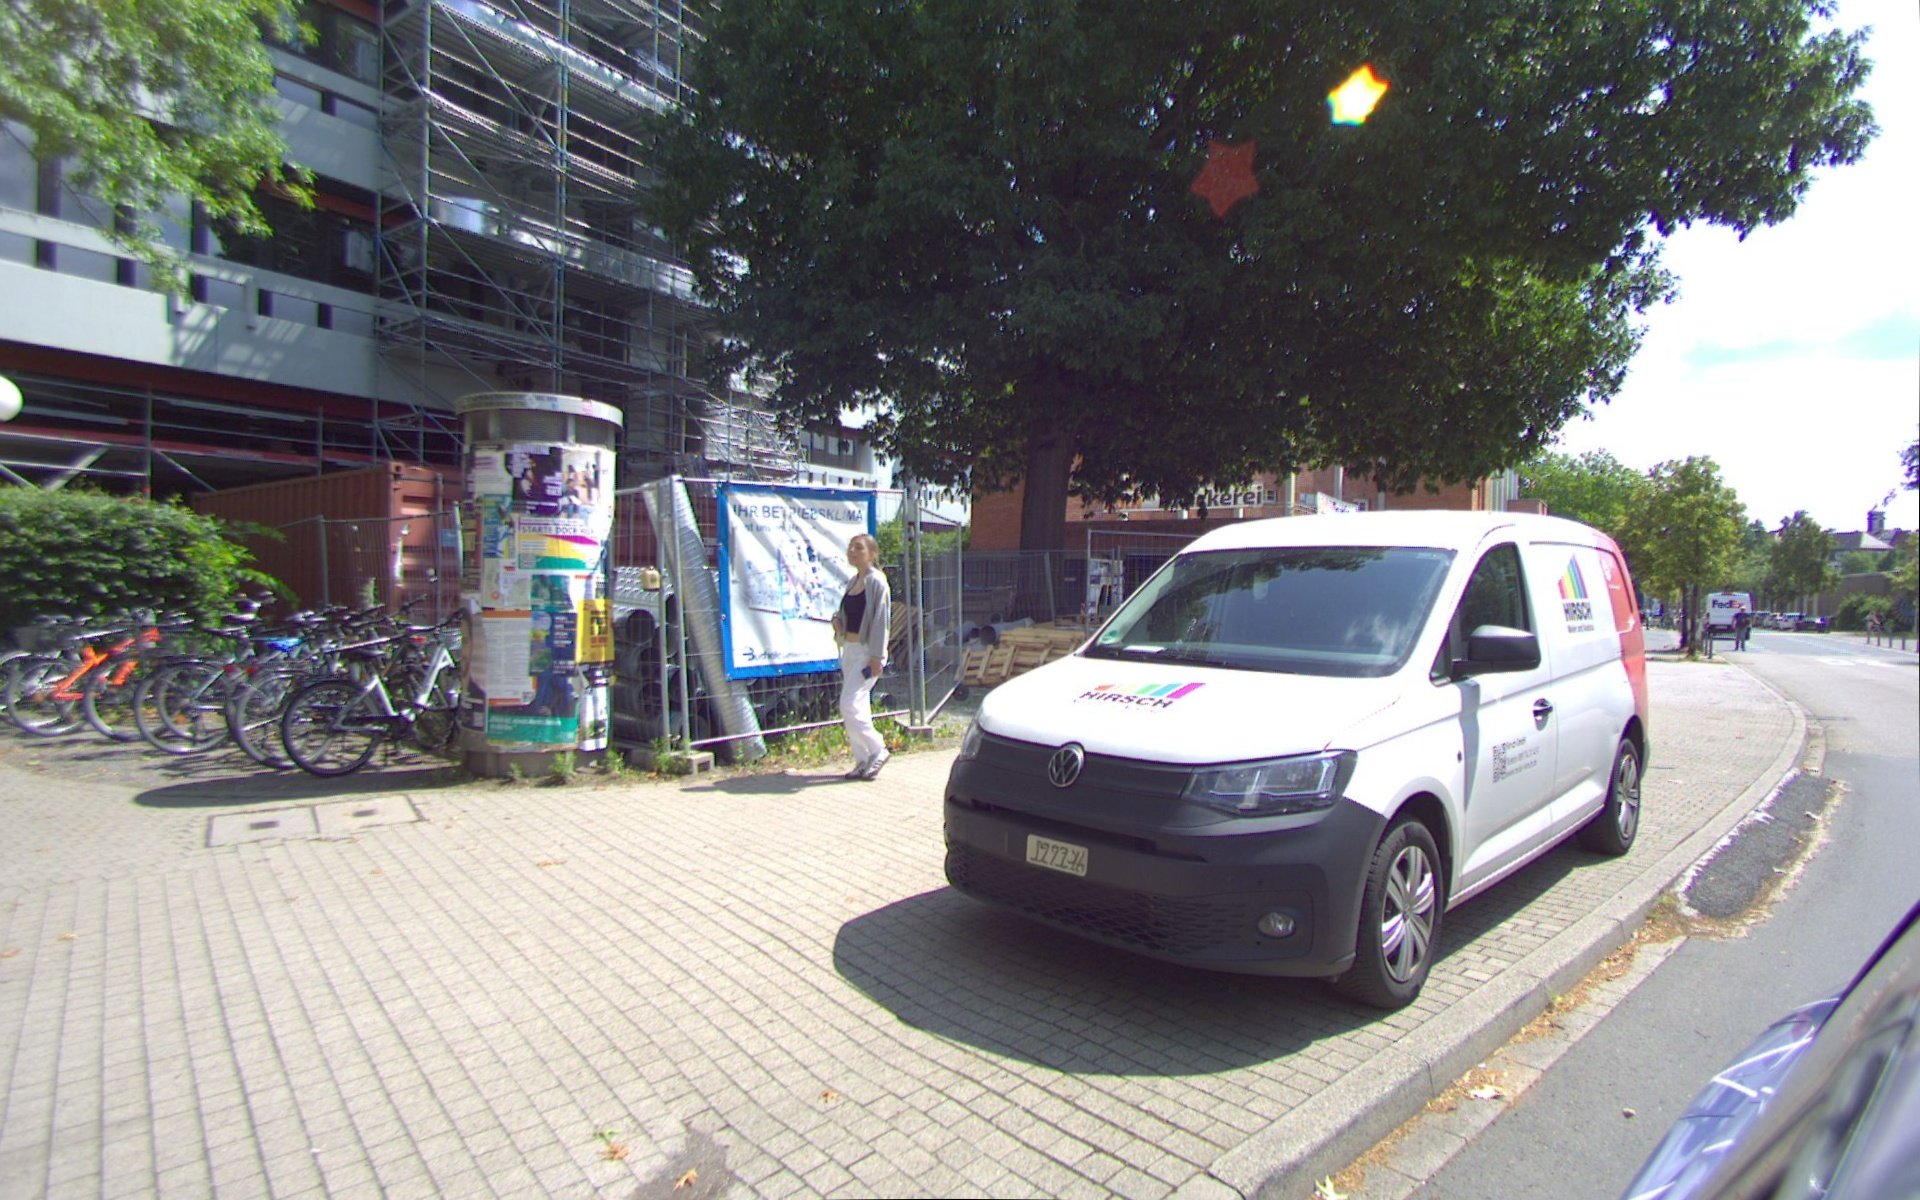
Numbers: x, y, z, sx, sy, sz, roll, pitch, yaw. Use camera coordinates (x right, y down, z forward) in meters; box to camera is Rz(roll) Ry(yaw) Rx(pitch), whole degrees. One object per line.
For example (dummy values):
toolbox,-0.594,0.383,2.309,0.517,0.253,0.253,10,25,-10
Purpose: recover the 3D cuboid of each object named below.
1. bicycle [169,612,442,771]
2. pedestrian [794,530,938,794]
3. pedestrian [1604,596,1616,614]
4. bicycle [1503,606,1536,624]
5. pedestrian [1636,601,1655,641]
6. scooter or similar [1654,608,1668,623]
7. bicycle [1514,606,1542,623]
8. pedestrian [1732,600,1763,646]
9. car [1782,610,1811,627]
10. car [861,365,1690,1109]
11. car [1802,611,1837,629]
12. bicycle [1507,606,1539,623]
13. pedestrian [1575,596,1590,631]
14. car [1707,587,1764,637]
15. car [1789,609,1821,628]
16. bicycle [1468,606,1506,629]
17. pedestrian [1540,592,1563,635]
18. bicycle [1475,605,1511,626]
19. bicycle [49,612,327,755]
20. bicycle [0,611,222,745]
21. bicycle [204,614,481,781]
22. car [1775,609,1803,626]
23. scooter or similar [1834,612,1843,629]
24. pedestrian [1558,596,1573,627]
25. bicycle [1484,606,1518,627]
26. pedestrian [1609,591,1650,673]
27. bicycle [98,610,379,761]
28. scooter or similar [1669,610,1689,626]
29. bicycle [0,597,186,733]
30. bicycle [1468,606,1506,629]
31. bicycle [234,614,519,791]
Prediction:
bicycle,-5.028,0.647,7.917,0.509,1.029,1.793,2,2,25
pedestrian,-0.643,0.381,6.820,0.697,1.652,0.715,1,0,-32
pedestrian,62.915,0.440,98.018,0.777,1.696,1.070,2,1,25
bicycle,36.680,0.969,66.361,1.904,1.124,0.430,1,0,35
pedestrian,30.388,0.933,44.863,0.640,1.718,0.782,1,0,36
scooter or similar,57.682,1.268,83.261,1.452,1.194,0.575,2,0,-42
bicycle,39.132,0.998,69.723,1.688,1.124,0.430,1,0,35
pedestrian,32.164,0.934,41.326,0.819,1.840,1.132,1,0,30
car,71.784,1.560,86.877,1.639,1.394,3.948,1,0,36
car,1.975,0.342,4.972,4.810,1.915,1.849,1,1,-45
car,65.079,1.482,76.653,1.692,1.311,3.713,1,0,36
bicycle,37.720,0.965,67.818,1.790,1.124,0.430,1,0,35
pedestrian,34.634,0.720,56.263,0.661,1.913,1.097,2,1,32
car,43.324,0.643,56.653,2.051,2.575,5.780,1,0,33
car,68.567,1.476,82.140,1.625,1.449,3.587,1,0,35
bicycle,27.863,0.899,53.548,1.747,1.164,0.430,1,0,35
pedestrian,26.167,0.571,44.779,0.840,1.857,1.184,1,0,30
bicycle,29.679,0.873,56.340,1.741,1.124,0.430,1,0,35
bicycle,-6.418,0.638,8.512,0.511,1.029,1.785,3,2,36
bicycle,-7.523,0.621,8.840,0.507,0.969,1.799,2,2,16
bicycle,-4.535,0.657,7.591,0.509,1.029,1.793,2,2,25
car,76.511,1.595,93.462,1.709,1.451,3.948,1,0,36
scooter or similar,63.538,1.499,73.174,0.469,1.231,1.187,1,0,40
pedestrian,33.996,0.647,56.827,0.584,1.728,0.988,2,1,39
bicycle,30.679,0.936,57.418,1.676,1.124,0.430,1,0,35
pedestrian,15.074,0.699,22.794,0.691,1.803,0.778,1,0,31
bicycle,-5.751,0.626,8.180,0.511,1.029,1.787,3,2,33
scooter or similar,57.790,1.435,81.359,0.564,1.259,1.146,2,0,-20
bicycle,-8.038,0.542,9.075,0.493,1.091,1.799,2,2,16
bicycle,28.301,0.930,54.361,1.747,1.164,0.511,1,0,34
bicycle,-4.073,0.654,7.231,0.509,1.029,1.793,2,2,25
